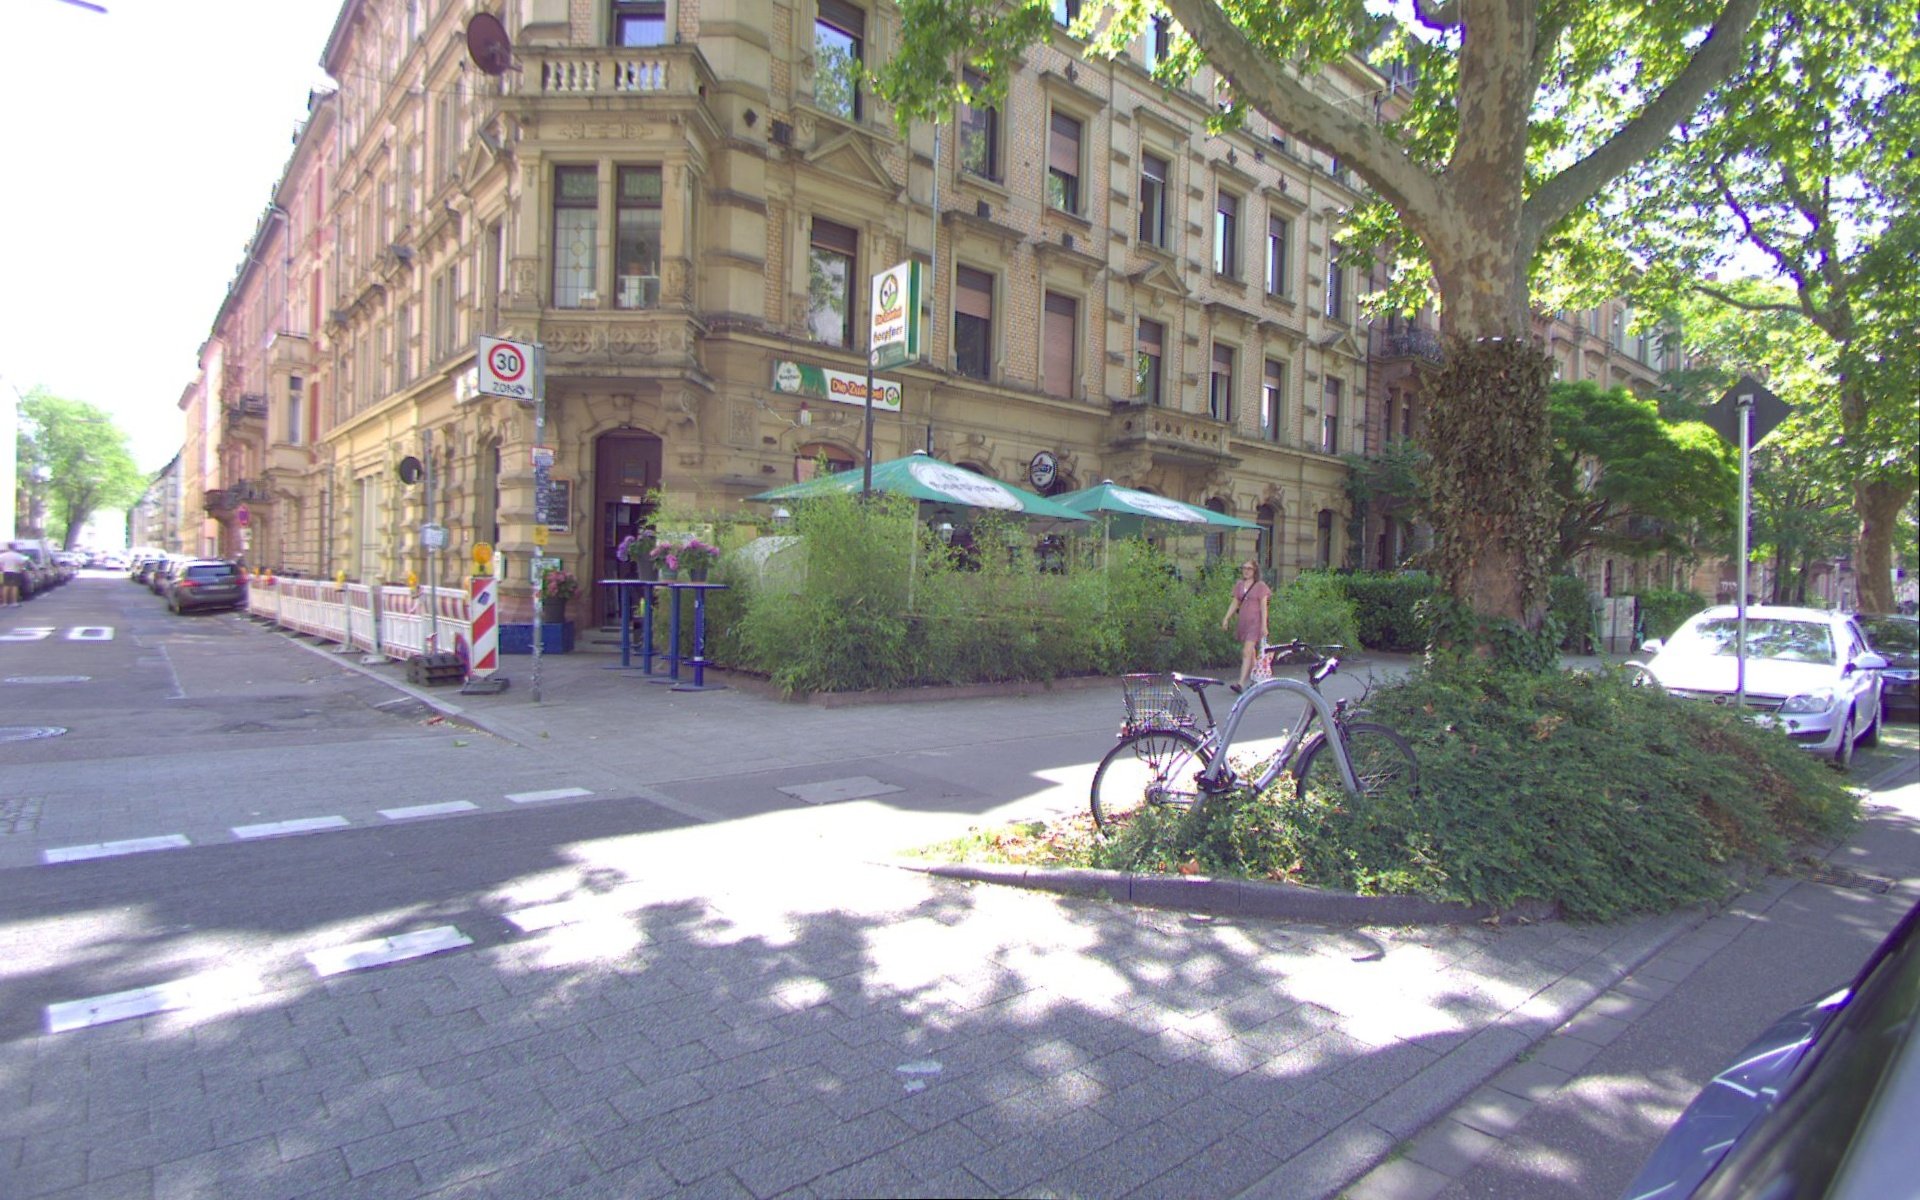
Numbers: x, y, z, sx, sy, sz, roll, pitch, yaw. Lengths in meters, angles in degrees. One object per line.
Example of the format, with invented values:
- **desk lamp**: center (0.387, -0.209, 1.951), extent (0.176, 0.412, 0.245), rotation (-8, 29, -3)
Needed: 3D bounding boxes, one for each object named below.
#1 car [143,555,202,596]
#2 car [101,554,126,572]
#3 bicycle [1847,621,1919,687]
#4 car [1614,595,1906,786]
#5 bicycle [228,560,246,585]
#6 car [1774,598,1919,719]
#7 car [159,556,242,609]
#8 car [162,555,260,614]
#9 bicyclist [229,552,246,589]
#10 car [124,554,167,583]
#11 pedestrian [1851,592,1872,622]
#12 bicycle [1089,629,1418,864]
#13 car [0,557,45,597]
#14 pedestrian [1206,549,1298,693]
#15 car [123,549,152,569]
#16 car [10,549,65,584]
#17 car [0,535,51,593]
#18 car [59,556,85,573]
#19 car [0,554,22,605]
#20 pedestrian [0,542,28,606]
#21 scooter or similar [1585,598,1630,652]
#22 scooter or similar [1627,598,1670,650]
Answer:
- **car**: center (-36.306, -1.151, 46.623), extent (1.965, 1.760, 3.995), rotation (1, 1, -41)
- **car**: center (-87.612, -3.868, 104.702), extent (1.965, 1.760, 3.995), rotation (1, 1, -41)
- **bicycle**: center (16.796, 0.959, 17.864), extent (1.615, 1.102, 0.469), rotation (2, 1, 17)
- **car**: center (8.566, 0.762, 10.676), extent (4.418, 1.527, 1.835), rotation (0, 2, -44)
- **bicycle**: center (-28.665, -1.098, 40.111), extent (0.529, 0.991, 1.309), rotation (1, 1, -37)
- **car**: center (13.884, 0.784, 15.123), extent (4.561, 1.527, 1.837), rotation (1, 2, -40)
- **car**: center (-25.382, -0.605, 33.765), extent (1.965, 1.660, 3.995), rotation (1, 1, -41)
- **car**: center (-21.461, -0.472, 28.938), extent (1.965, 1.571, 3.995), rotation (1, 1, -41)
- **bicyclist**: center (-28.719, -1.168, 40.201), extent (0.523, 1.471, 0.461), rotation (1, 1, -37)
- **car**: center (-51.054, -1.981, 63.434), extent (1.965, 1.760, 3.995), rotation (1, 1, -41)
- **pedestrian**: center (53.917, 0.420, 60.537), extent (0.951, 1.740, 0.796), rotation (1, 1, -41)
- **bicycle**: center (1.508, 0.734, 5.244), extent (1.583, 1.119, 0.423), rotation (1, 1, -10)
- **car**: center (-38.080, -0.955, 40.806), extent (1.698, 1.548, 3.490), rotation (1, 1, -41)
- **pedestrian**: center (3.858, 0.252, 13.374), extent (0.837, 1.807, 0.738), rotation (1, 3, -41)
- **car**: center (-75.746, -3.783, 93.179), extent (1.965, 1.760, 3.995), rotation (1, 1, -41)
- **car**: center (-48.469, -1.756, 53.220), extent (1.879, 1.731, 4.159), rotation (1, 1, -39)
- **car**: center (-41.463, -1.588, 44.565), extent (1.879, 2.403, 4.244), rotation (1, 1, -39)
- **car**: center (-77.466, -3.076, 88.307), extent (1.641, 1.419, 3.357), rotation (1, 1, -40)
- **car**: center (-30.802, -0.695, 31.892), extent (1.698, 1.548, 3.490), rotation (1, 1, -41)
- **pedestrian**: center (-27.574, -0.766, 29.245), extent (0.921, 1.821, 1.036), rotation (1, 1, -44)
- **scooter or similar**: center (15.766, 0.587, 24.642), extent (1.124, 1.263, 0.583), rotation (1, 1, -40)
- **scooter or similar**: center (17.887, 0.622, 26.275), extent (1.124, 1.298, 0.583), rotation (1, 1, -39)
